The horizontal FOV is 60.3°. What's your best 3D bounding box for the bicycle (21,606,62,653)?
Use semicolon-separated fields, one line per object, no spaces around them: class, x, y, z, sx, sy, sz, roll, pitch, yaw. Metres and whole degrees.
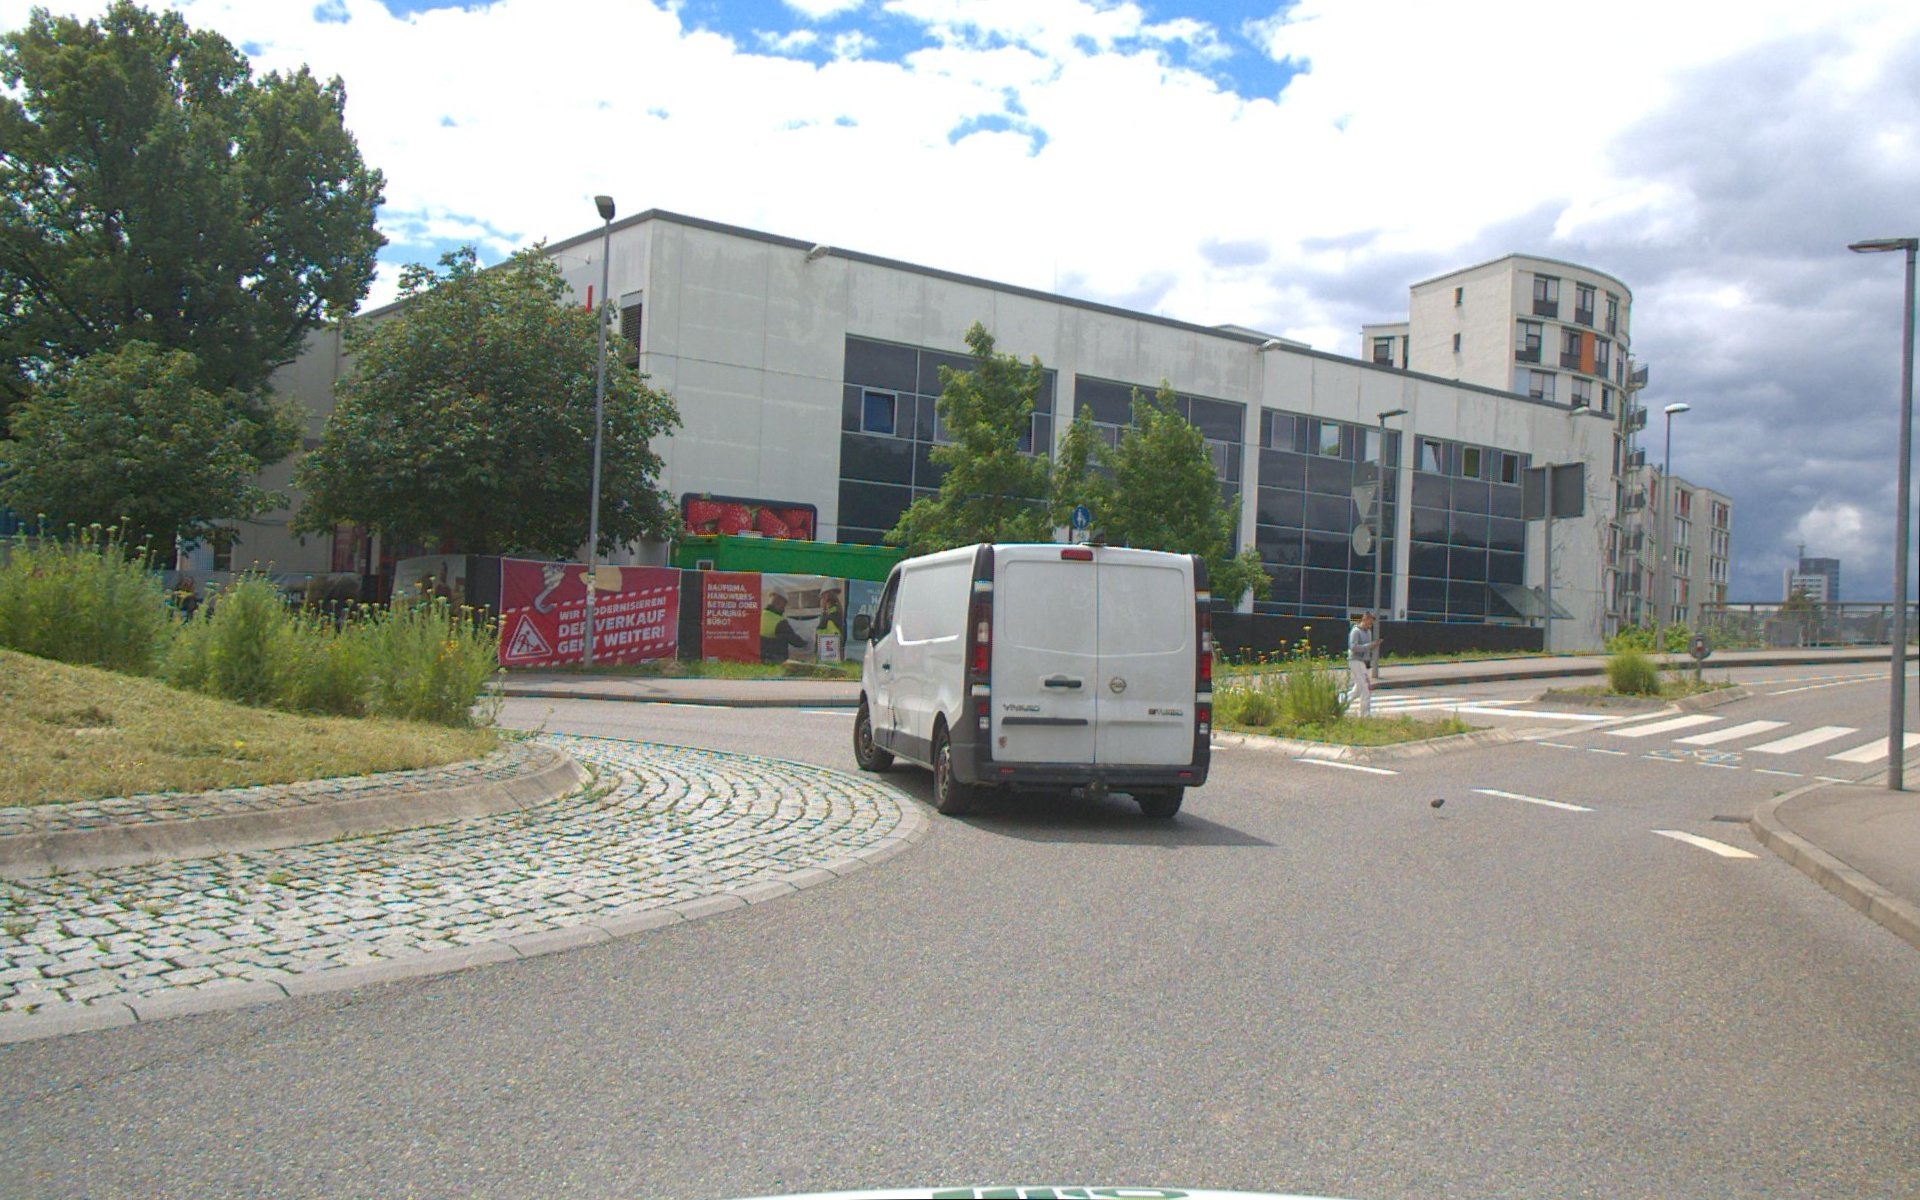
bicycle;-22.574;0.707;40.685;0.621;1.068;2.056;4;-2;-24

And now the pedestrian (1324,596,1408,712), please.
pedestrian;5.829;0.773;23.774;1.012;1.568;0.896;3;-2;9

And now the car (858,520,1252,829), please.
car;0.526;0.557;13.711;1.998;1.979;4.979;4;-2;-11

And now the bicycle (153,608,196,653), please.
bicycle;-20.349;0.778;42.833;0.536;1.068;1.943;5;-2;-37
